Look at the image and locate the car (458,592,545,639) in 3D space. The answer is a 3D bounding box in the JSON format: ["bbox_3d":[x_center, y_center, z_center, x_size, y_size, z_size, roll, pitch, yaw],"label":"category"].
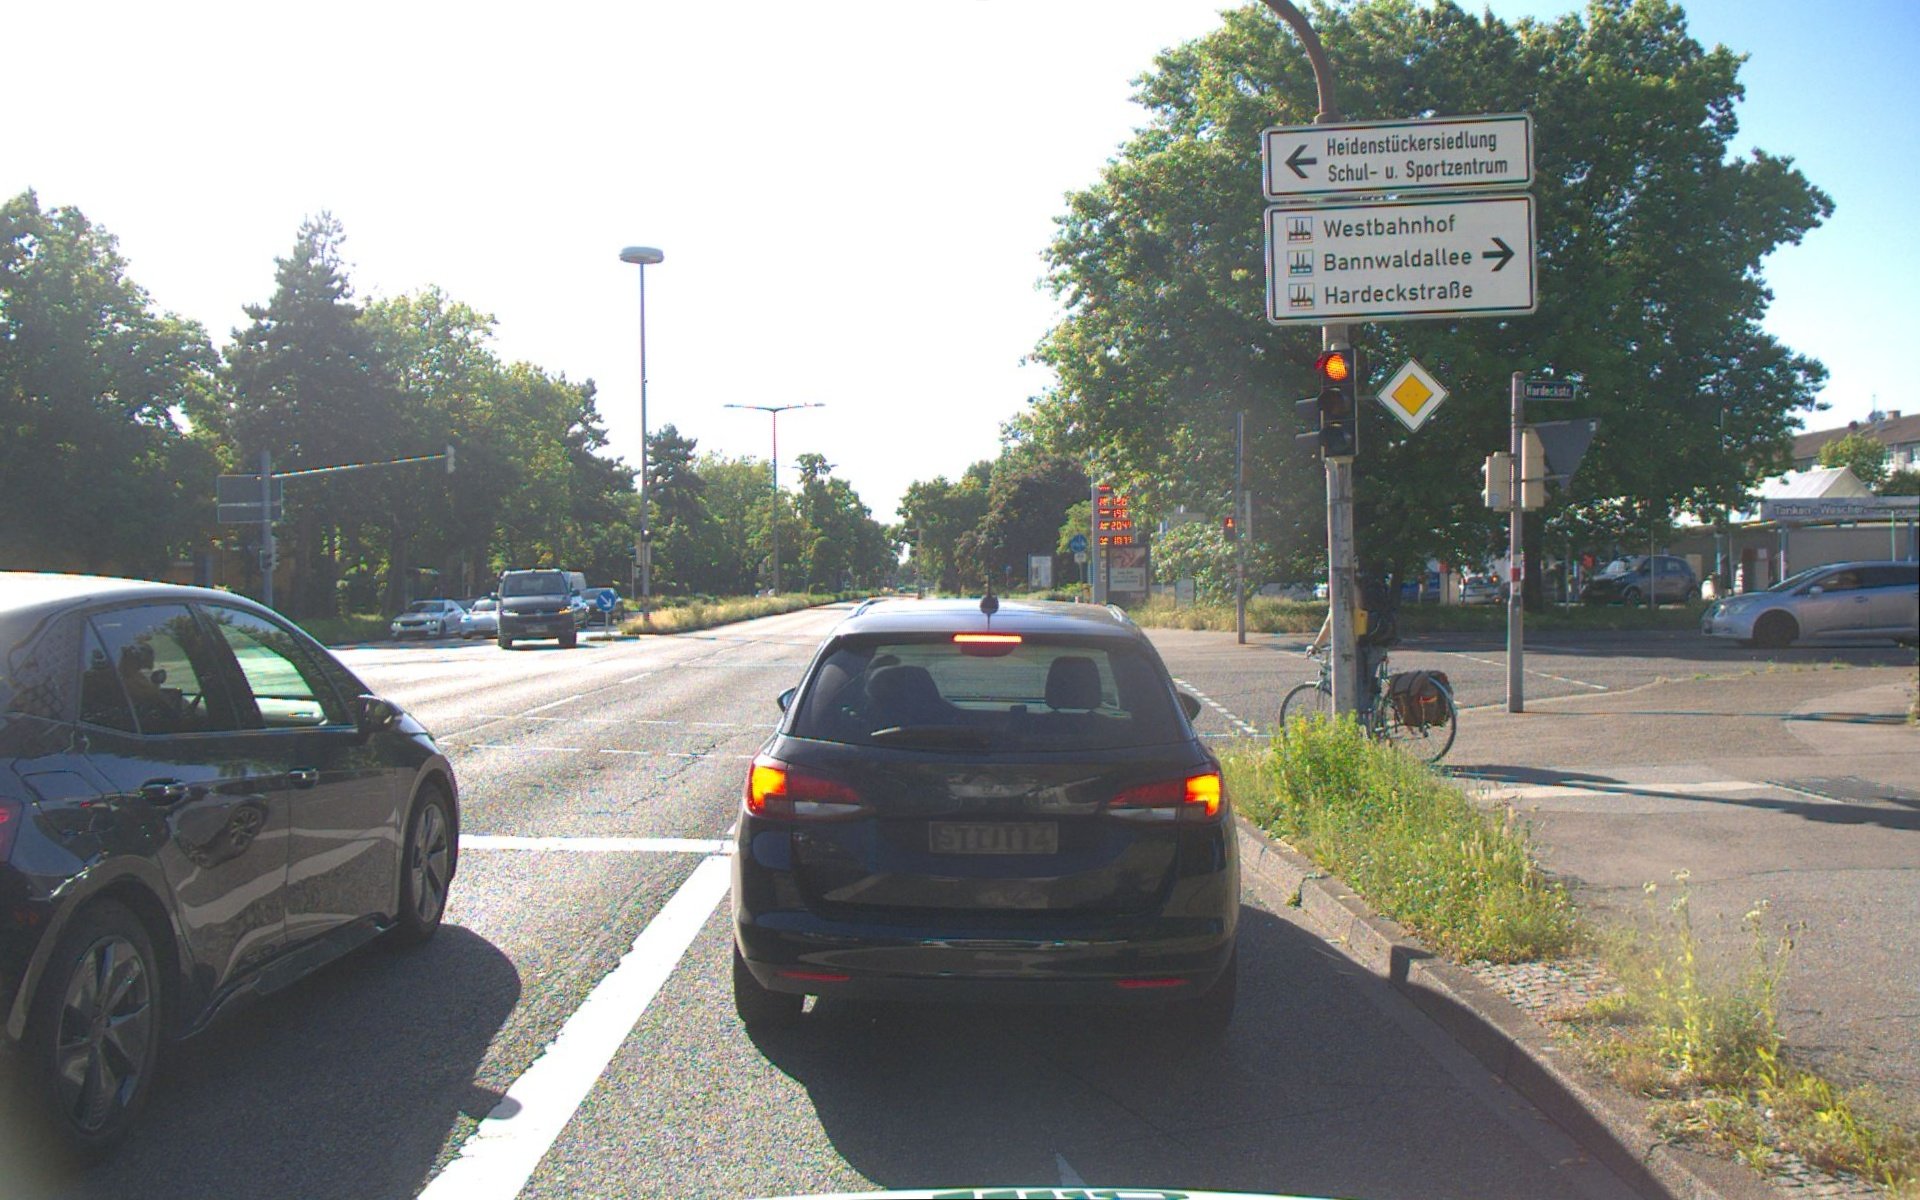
[{"bbox_3d":[-16.261,0.519,58.848,1.850,1.551,4.503,-1,0,-1],"label":"car"}]

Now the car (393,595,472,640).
[{"bbox_3d":[-19.541,0.620,61.415,1.652,1.535,4.003,-1,0,-1],"label":"car"}]

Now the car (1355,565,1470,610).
[{"bbox_3d":[16.431,-0.466,60.056,3.837,1.544,1.732,-2,0,-24],"label":"car"}]

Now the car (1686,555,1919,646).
[{"bbox_3d":[15.719,-0.011,29.284,4.897,1.512,2.002,-1,0,11],"label":"car"}]

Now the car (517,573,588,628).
[{"bbox_3d":[-20.093,0.001,81.739,2.057,2.536,6.003,-1,0,-1],"label":"car"}]

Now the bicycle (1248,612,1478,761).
[{"bbox_3d":[3.226,0.697,13.366,0.533,1.117,1.748,-2,-2,-44],"label":"bicycle"}]

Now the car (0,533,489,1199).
[{"bbox_3d":[-2.998,0.654,5.600,1.650,1.608,4.206,0,0,-1],"label":"car"}]

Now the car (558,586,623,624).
[{"bbox_3d":[-16.751,0.197,75.235,1.953,1.629,4.615,-1,0,-1],"label":"car"}]

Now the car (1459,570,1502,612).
[{"bbox_3d":[22.174,-0.401,70.539,1.703,1.709,4.003,-1,0,17],"label":"car"}]

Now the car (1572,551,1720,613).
[{"bbox_3d":[19.988,-0.535,48.192,3.934,1.709,1.732,-2,0,-24],"label":"car"}]

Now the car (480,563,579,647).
[{"bbox_3d":[-11.334,0.114,43.298,1.885,2.027,4.982,-1,0,-22],"label":"car"}]

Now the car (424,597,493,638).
[{"bbox_3d":[-20.192,0.691,66.728,1.652,1.535,4.002,-1,0,-2],"label":"car"}]

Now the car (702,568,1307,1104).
[{"bbox_3d":[0.103,0.681,6.832,1.721,1.521,4.206,0,0,-1],"label":"car"}]

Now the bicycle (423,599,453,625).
[{"bbox_3d":[-25.990,0.586,82.372,0.858,1.233,2.533,-2,0,-5],"label":"bicycle"}]

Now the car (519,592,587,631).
[{"bbox_3d":[-16.418,0.442,66.928,1.652,1.458,4.614,-1,0,-1],"label":"car"}]

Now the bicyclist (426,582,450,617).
[{"bbox_3d":[-25.963,-0.025,82.311,0.859,1.677,1.198,-2,0,-6],"label":"bicyclist"}]

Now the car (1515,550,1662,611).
[{"bbox_3d":[19.016,-0.592,50.034,3.935,1.780,1.985,-1,0,-24],"label":"car"}]

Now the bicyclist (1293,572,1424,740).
[{"bbox_3d":[3.219,0.451,13.368,0.534,1.299,0.816,-2,-2,-44],"label":"bicyclist"}]

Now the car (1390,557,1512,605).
[{"bbox_3d":[16.908,-0.653,56.981,3.837,1.544,1.732,-2,0,-24],"label":"car"}]
